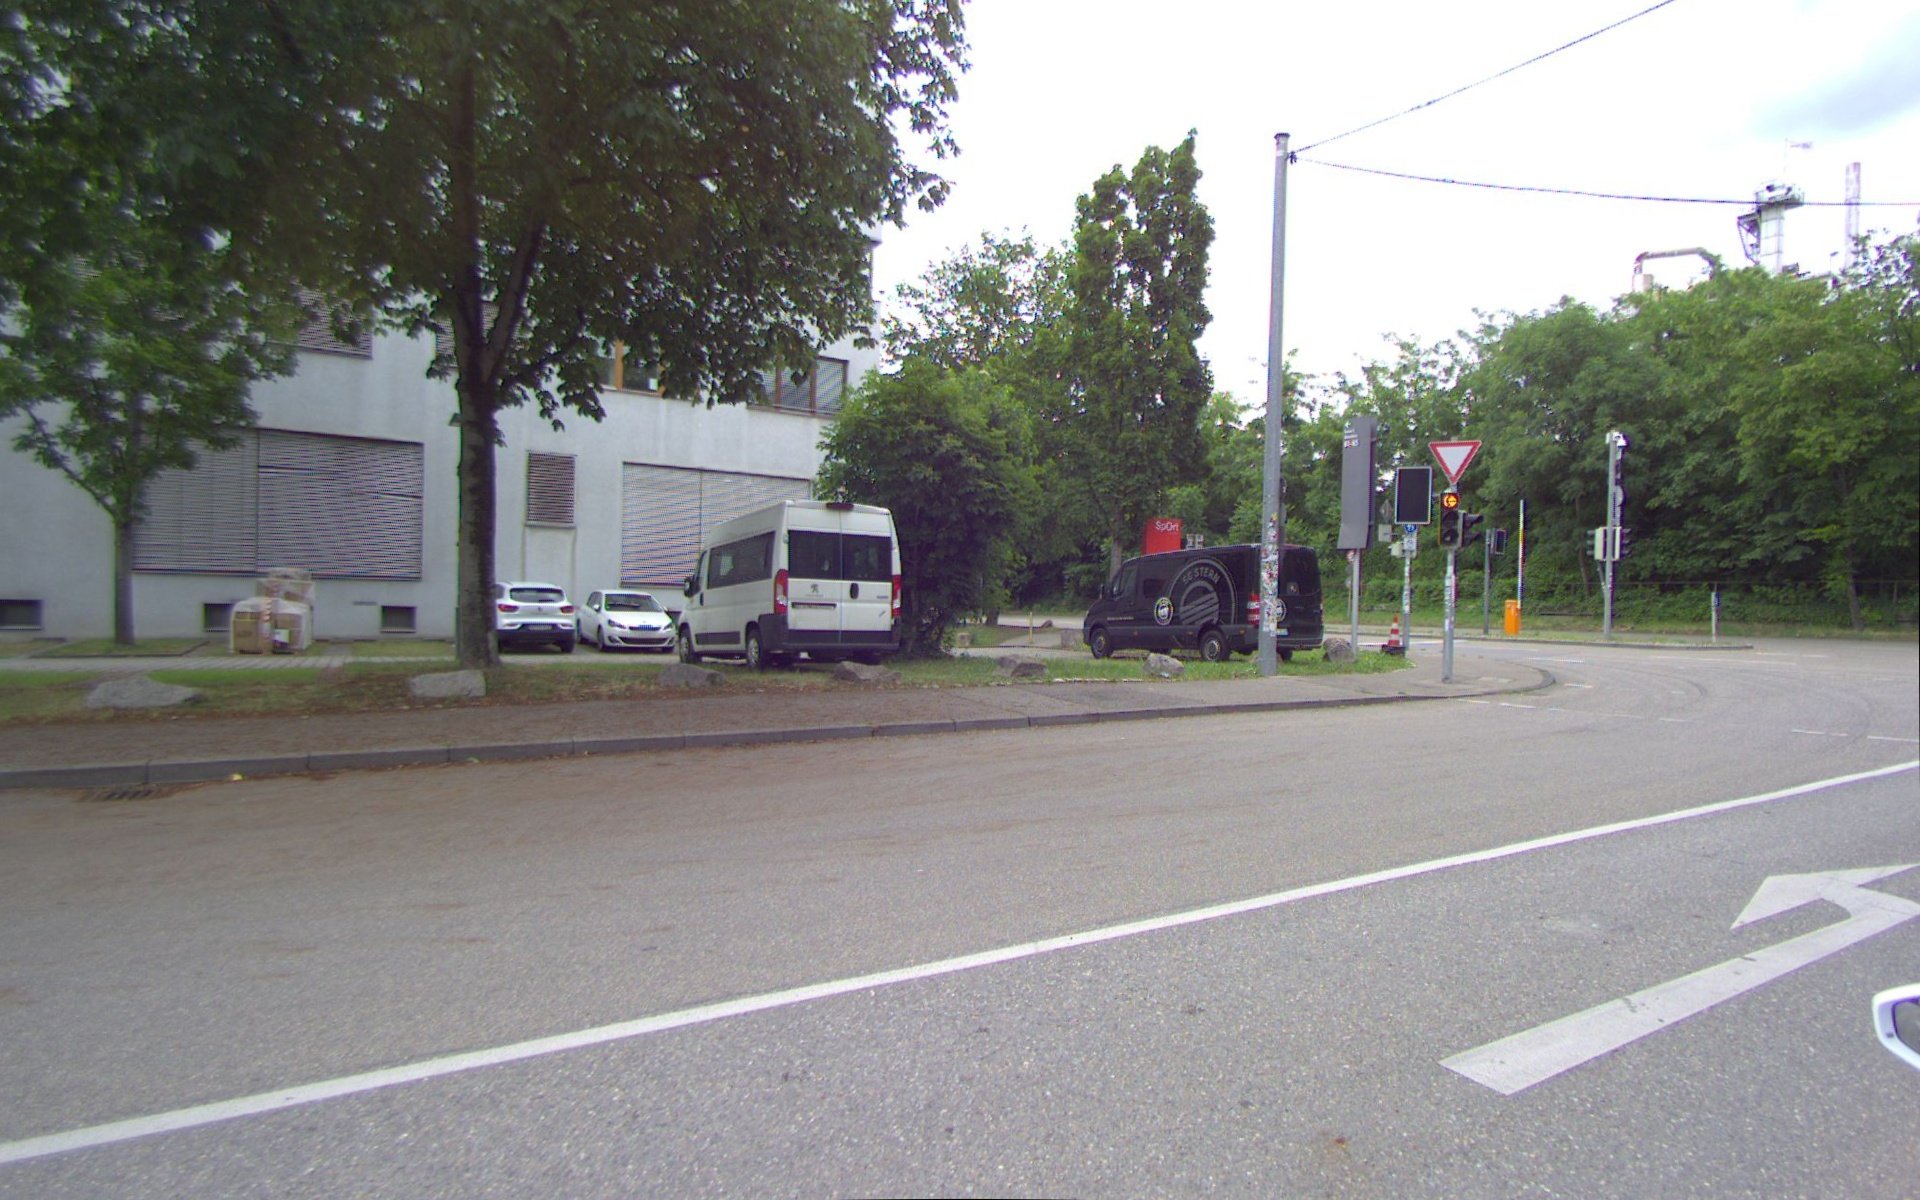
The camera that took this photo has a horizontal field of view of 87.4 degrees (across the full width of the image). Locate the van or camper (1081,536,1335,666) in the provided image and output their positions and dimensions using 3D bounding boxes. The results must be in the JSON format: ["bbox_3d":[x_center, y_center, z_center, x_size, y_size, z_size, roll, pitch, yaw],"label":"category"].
[{"bbox_3d":[5.012,0.125,21.263,2.036,2.343,5.513,3,-3,-28],"label":"van or camper"}]

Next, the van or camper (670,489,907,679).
[{"bbox_3d":[-2.997,-0.238,16.469,2.039,2.604,4.943,3,0,-32],"label":"van or camper"}]

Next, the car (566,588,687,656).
[{"bbox_3d":[-8.554,0.526,25.545,1.881,1.475,3.972,3,0,-34],"label":"car"}]

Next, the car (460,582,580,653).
[{"bbox_3d":[-10.573,0.383,23.981,1.881,1.475,3.972,3,0,-34],"label":"car"}]
